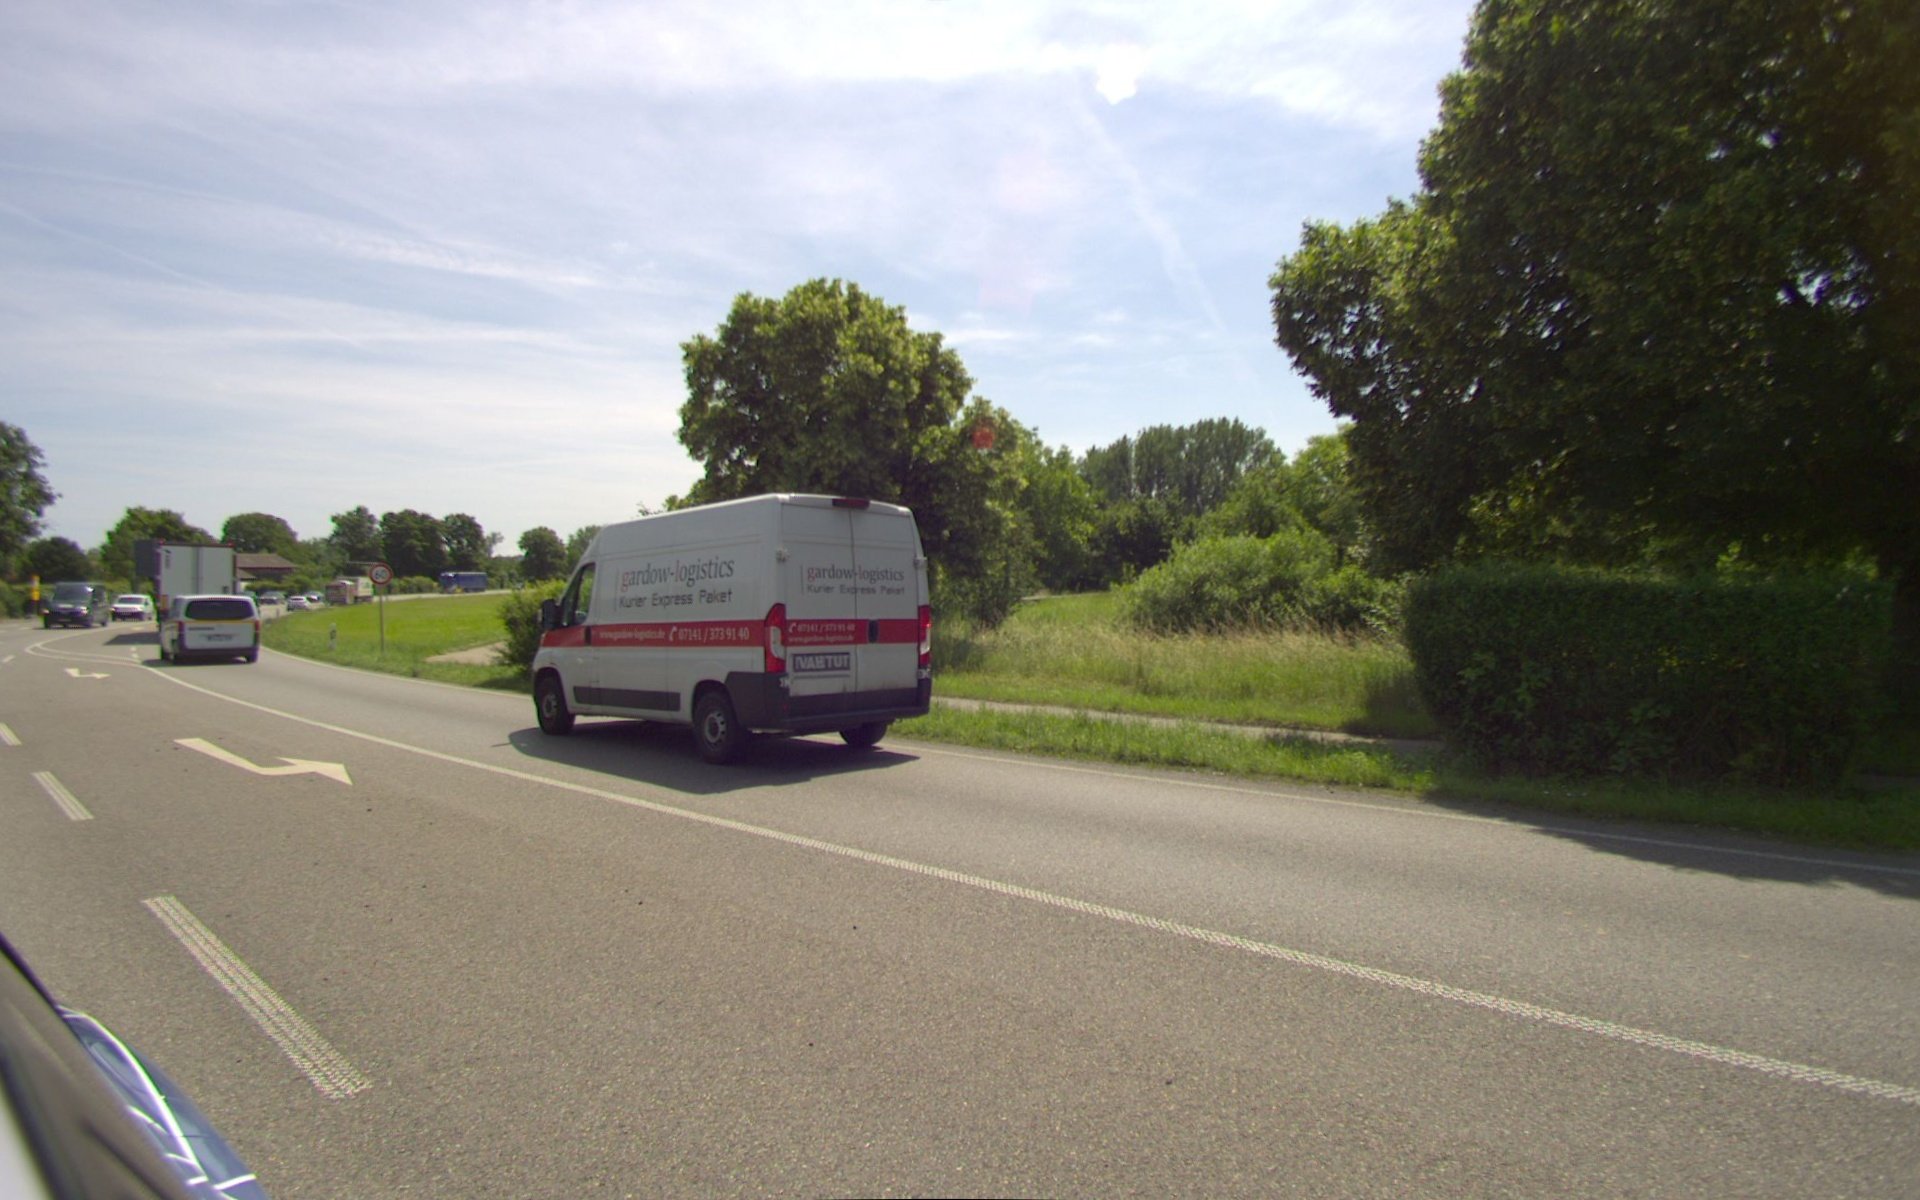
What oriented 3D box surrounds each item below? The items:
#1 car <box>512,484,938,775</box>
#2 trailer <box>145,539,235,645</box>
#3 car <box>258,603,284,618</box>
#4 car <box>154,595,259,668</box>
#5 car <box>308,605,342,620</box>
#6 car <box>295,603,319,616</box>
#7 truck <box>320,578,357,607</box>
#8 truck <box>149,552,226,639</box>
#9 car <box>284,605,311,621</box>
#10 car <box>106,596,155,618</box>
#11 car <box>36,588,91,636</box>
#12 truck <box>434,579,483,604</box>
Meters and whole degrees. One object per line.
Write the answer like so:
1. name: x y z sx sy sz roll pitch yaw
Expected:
1. car: -2.817 0.317 11.158 5.269 2.471 2.028 -2 -2 44
2. trailer: -34.182 -0.245 44.878 2.742 4.133 11.684 2 -2 -38
3. car: -83.770 1.241 123.059 1.779 1.746 4.013 -1 -1 -21
4. car: -21.326 0.858 28.557 1.851 1.879 5.146 0 -1 -43
5. car: -62.972 1.213 100.435 1.595 1.473 4.009 0 0 -11
6. car: -87.507 1.293 135.696 1.779 1.746 4.013 -1 -1 -20
7. truck: -77.692 -0.940 126.646 2.926 3.597 6.921 0 0 -23
8. truck: -37.783 -0.145 49.473 2.742 3.973 5.716 2 -2 -38
9. car: -66.859 1.293 102.140 1.593 1.473 3.482 0 0 -21
10. car: -58.240 0.483 71.131 1.753 1.504 4.171 0 0 -26
11. car: -49.740 0.633 56.139 4.158 2.538 1.954 0 0 43
12. truck: -99.151 -1.717 200.551 2.705 4.643 16.174 0 1 -4
